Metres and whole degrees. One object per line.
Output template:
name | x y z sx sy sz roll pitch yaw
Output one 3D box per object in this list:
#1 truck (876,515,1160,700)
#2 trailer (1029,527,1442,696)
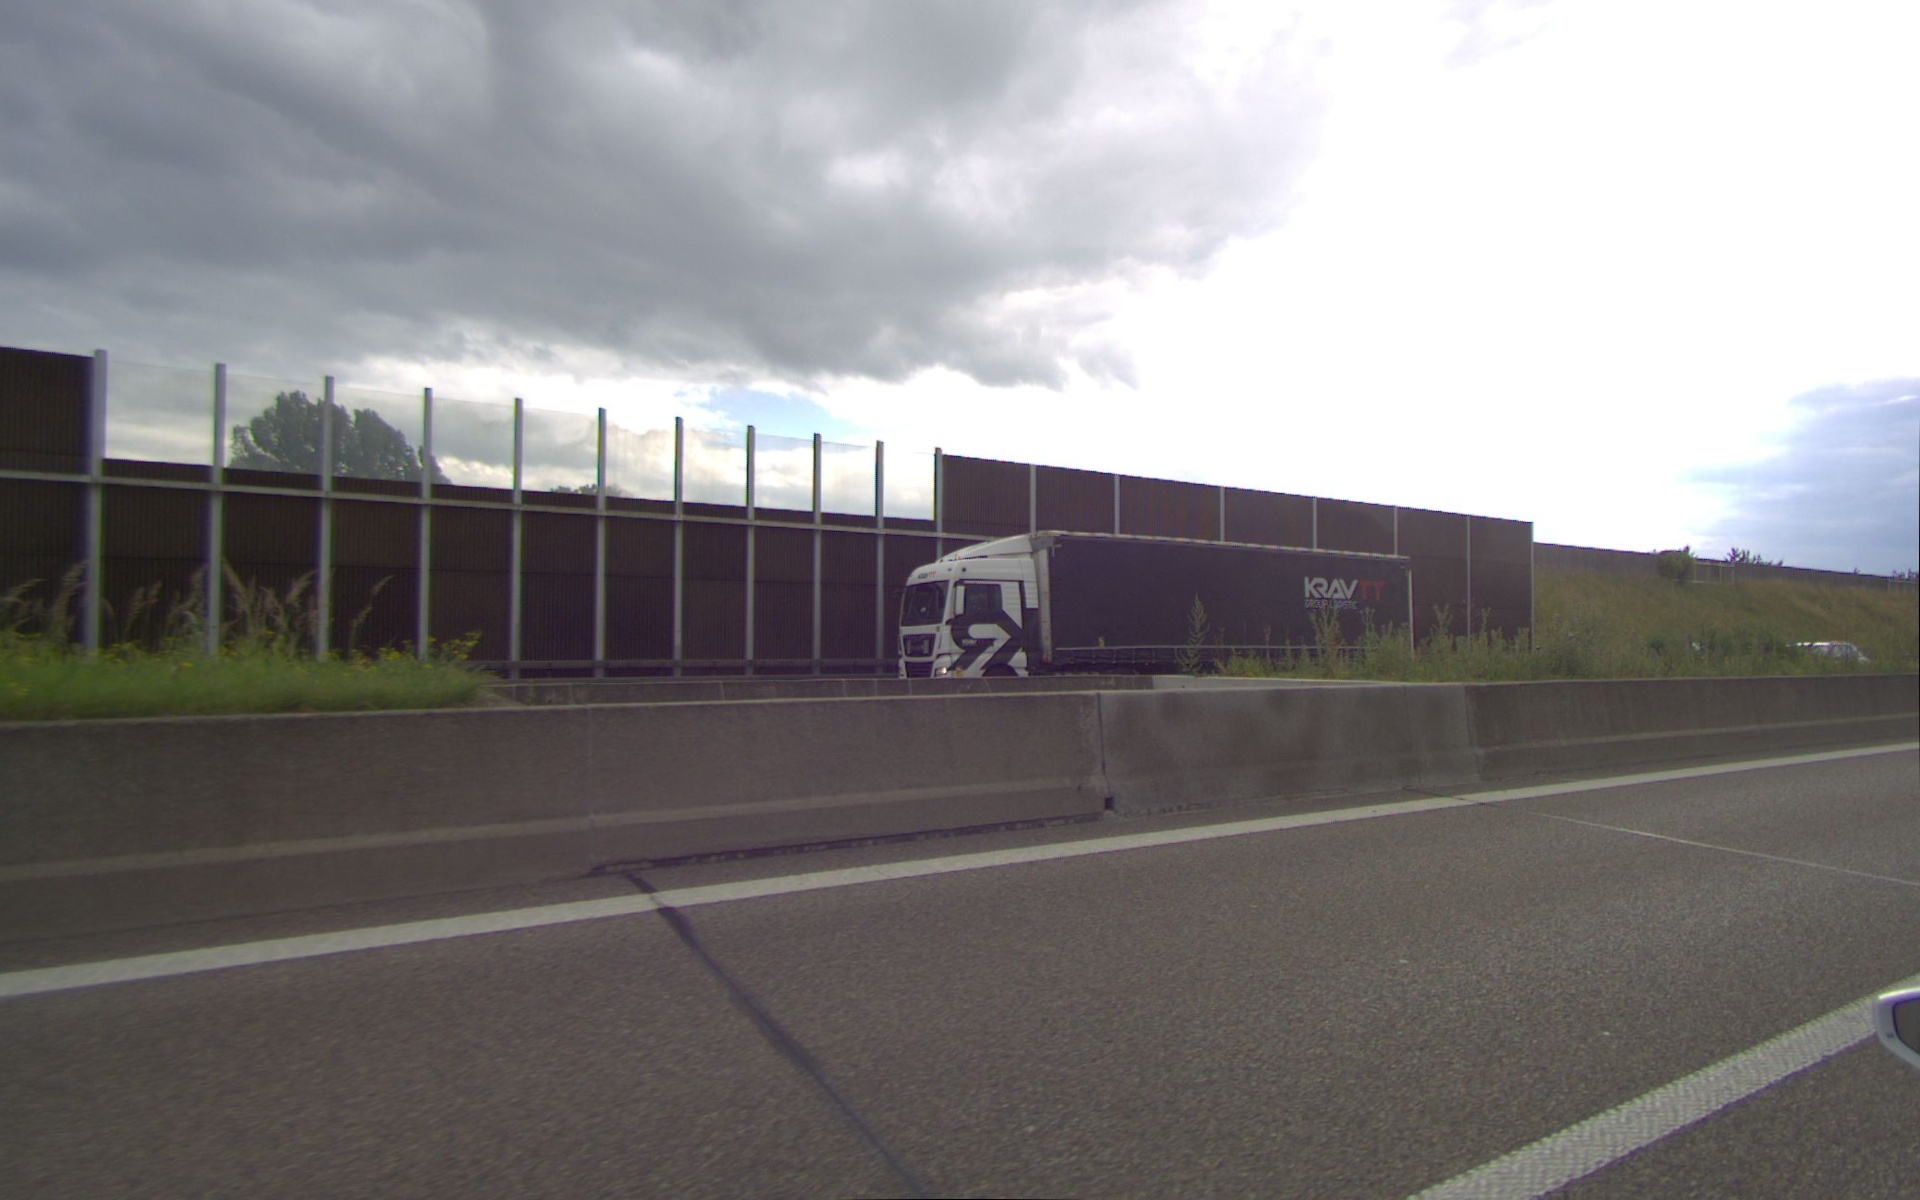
truck | 1.417 0.219 24.809 5.942 4.000 3.651 1 0 -30
trailer | 8.223 0.398 28.775 12.528 4.033 3.654 2 0 -30
